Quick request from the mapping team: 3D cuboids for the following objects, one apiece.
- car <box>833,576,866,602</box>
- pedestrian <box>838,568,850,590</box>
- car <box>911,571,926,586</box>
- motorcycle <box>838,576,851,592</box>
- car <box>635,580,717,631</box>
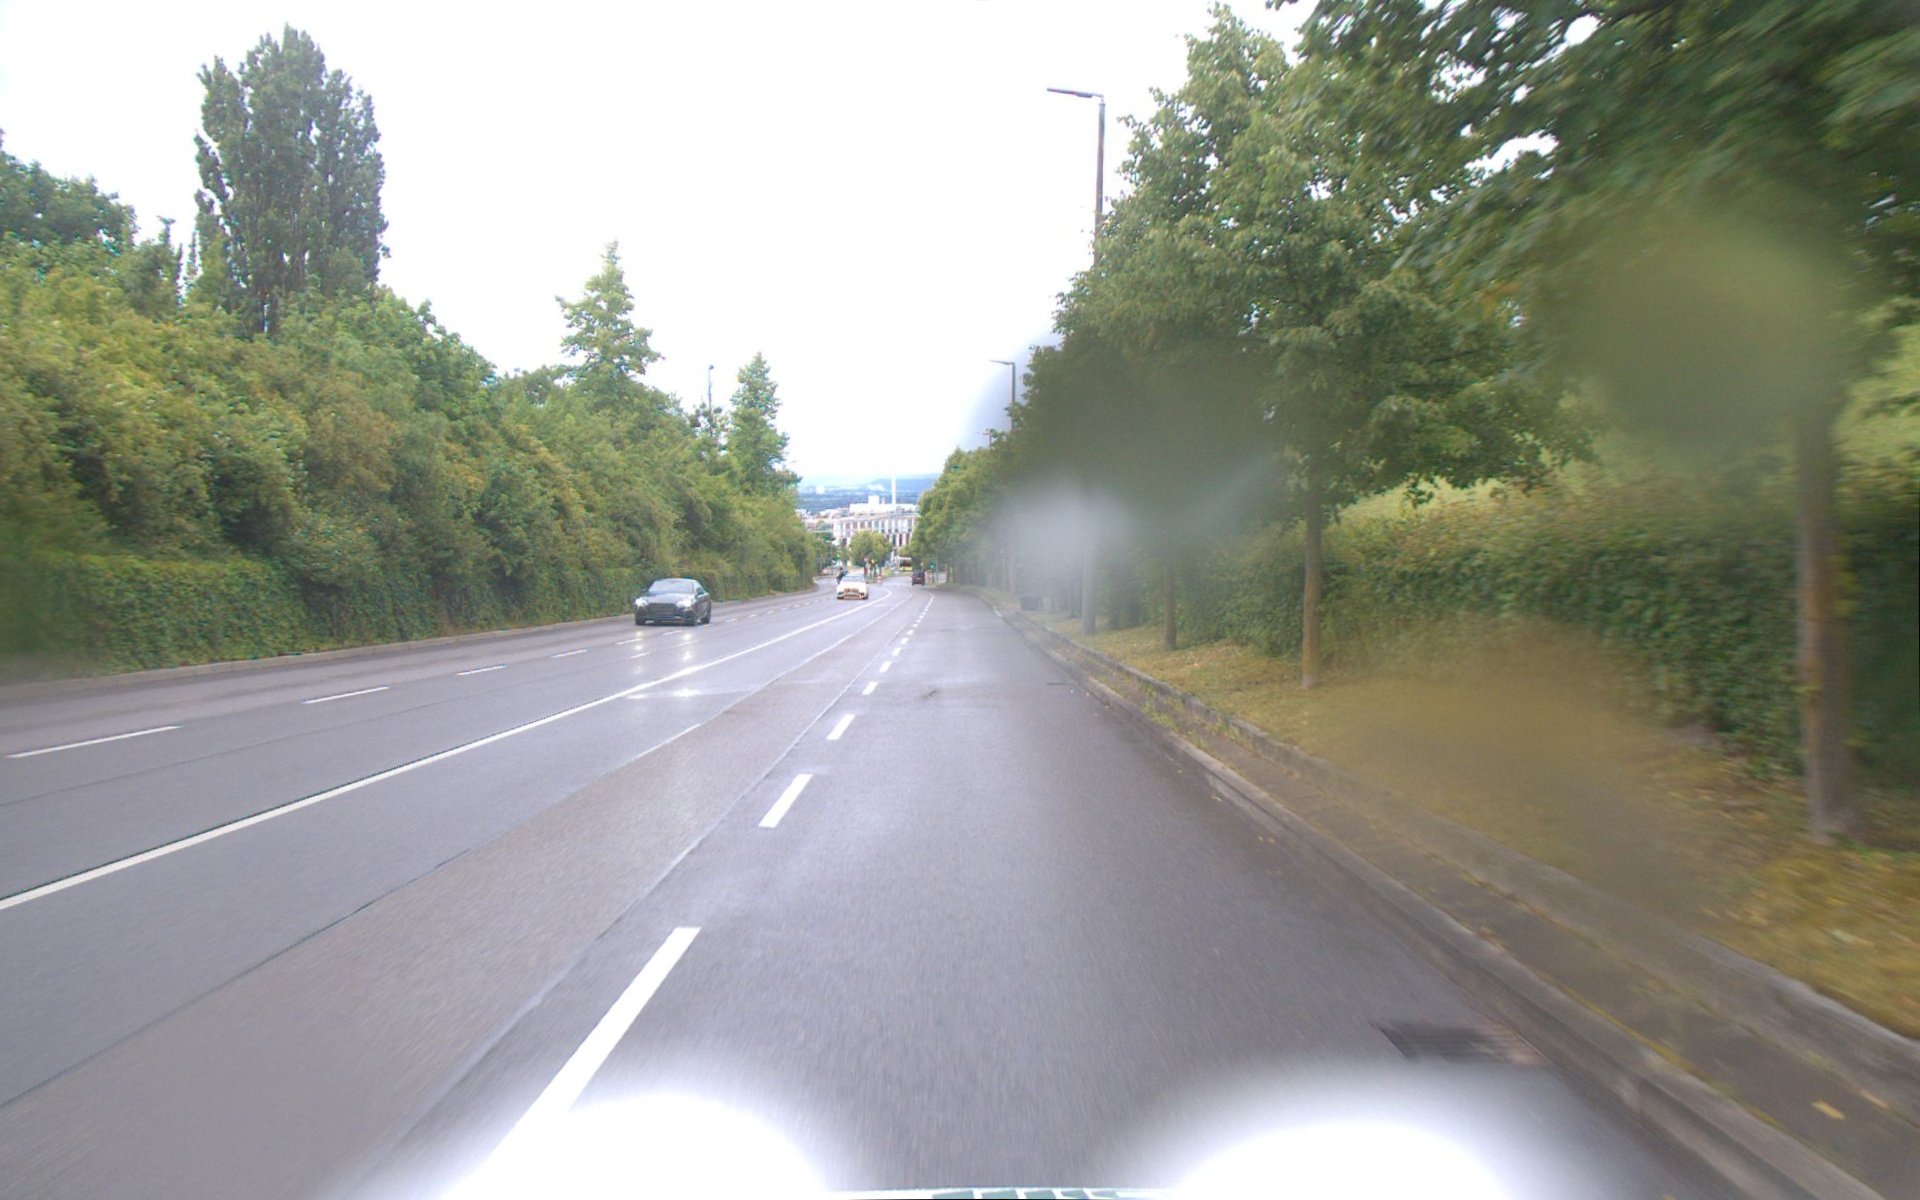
[{"bbox_3d":[-6.852,-0.687,102.758,1.680,1.531,4.516,2,1,0],"label":"car"},{"bbox_3d":[-8.467,-1.537,121.159,0.789,1.568,1.111,1,0,0],"label":"pedestrian"},{"bbox_3d":[-5.363,-2.751,213.911,1.812,1.731,3.791,2,-1,-2],"label":"car"},{"bbox_3d":[-8.468,-1.178,121.129,0.789,1.151,2.231,1,1,0],"label":"motorcycle"},{"bbox_3d":[-8.773,0.130,51.482,1.724,1.405,4.838,2,1,0],"label":"car"}]
